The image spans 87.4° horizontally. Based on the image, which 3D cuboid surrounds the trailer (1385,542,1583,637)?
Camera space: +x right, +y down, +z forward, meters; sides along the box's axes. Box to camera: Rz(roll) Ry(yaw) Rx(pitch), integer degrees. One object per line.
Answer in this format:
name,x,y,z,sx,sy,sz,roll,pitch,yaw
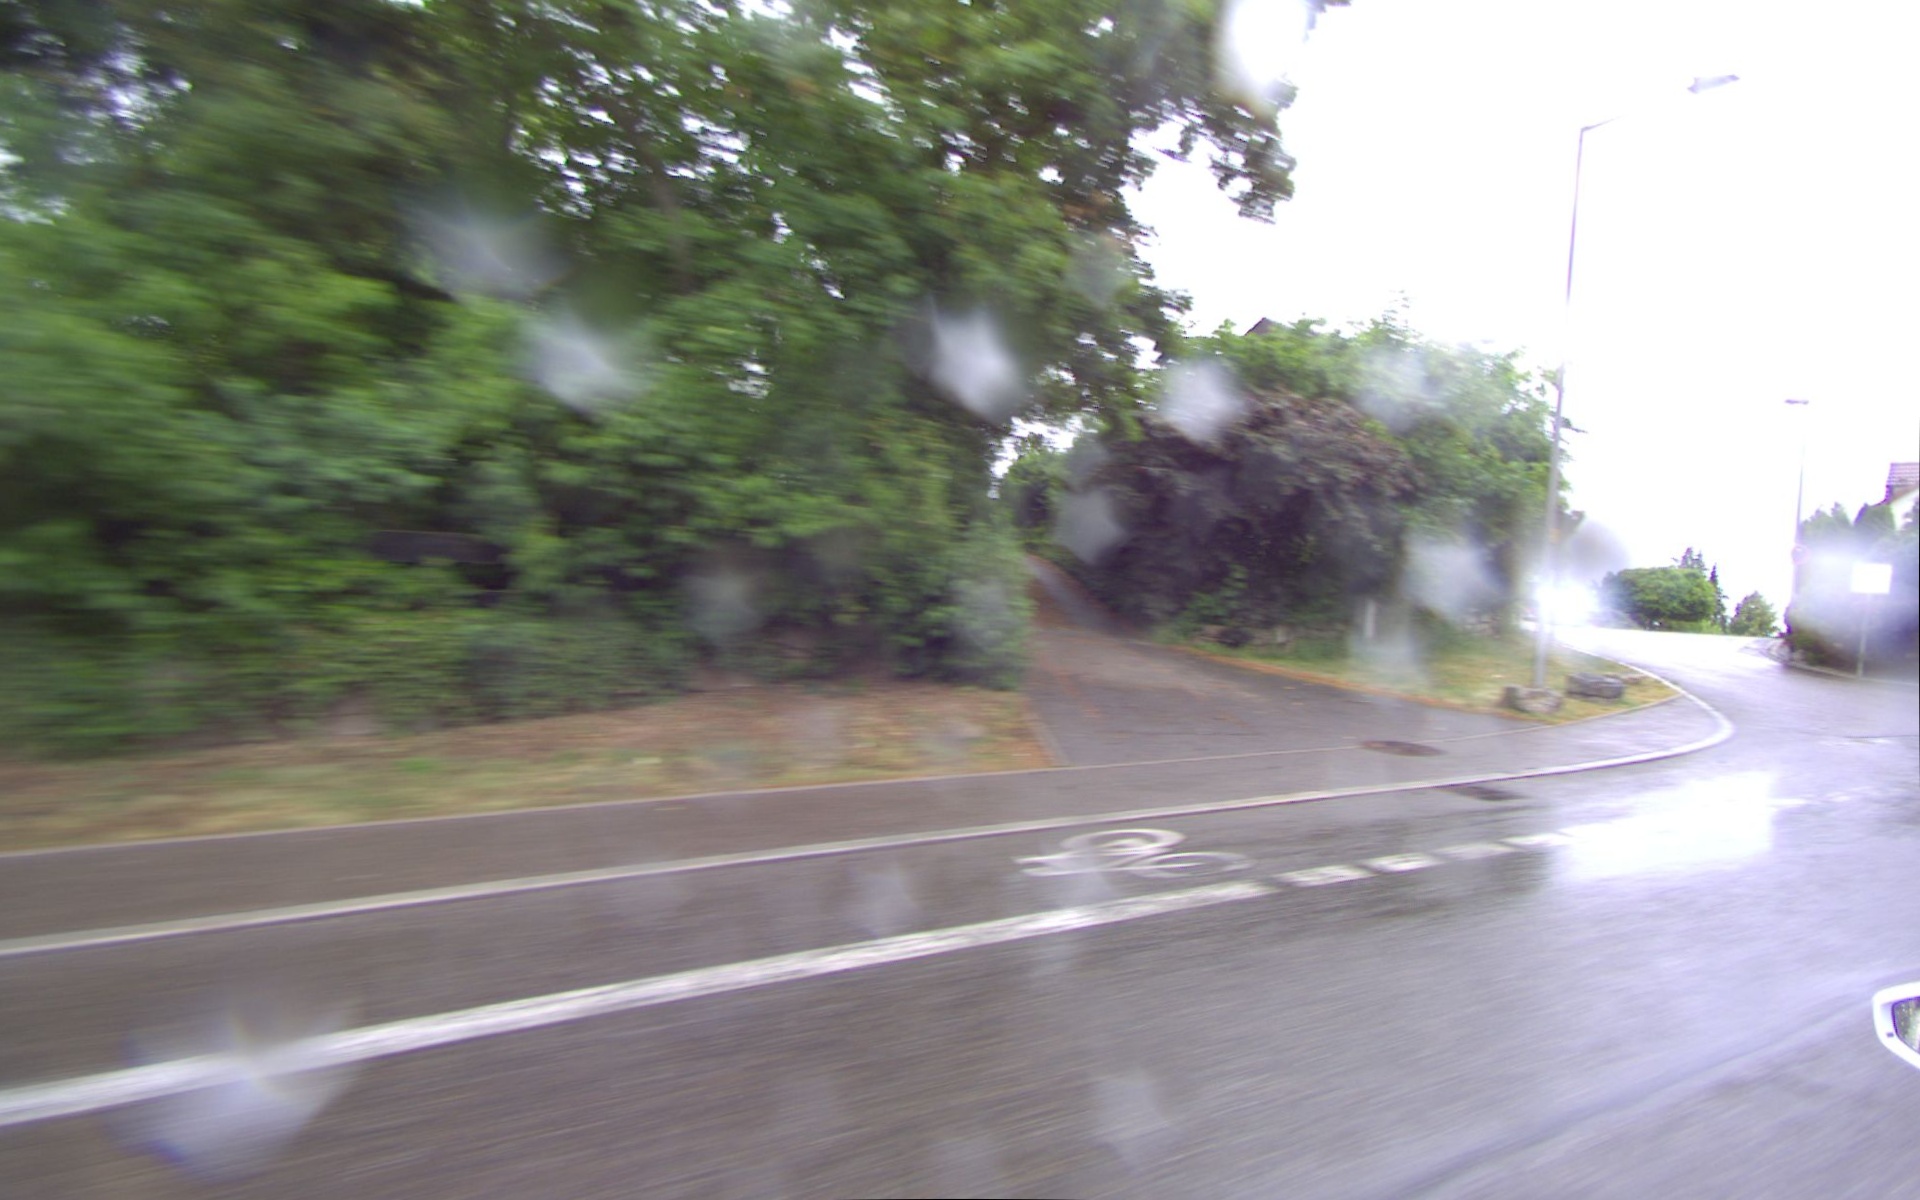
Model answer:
trailer,13.782,-0.327,26.622,2.142,2.032,3.957,2,6,-37
